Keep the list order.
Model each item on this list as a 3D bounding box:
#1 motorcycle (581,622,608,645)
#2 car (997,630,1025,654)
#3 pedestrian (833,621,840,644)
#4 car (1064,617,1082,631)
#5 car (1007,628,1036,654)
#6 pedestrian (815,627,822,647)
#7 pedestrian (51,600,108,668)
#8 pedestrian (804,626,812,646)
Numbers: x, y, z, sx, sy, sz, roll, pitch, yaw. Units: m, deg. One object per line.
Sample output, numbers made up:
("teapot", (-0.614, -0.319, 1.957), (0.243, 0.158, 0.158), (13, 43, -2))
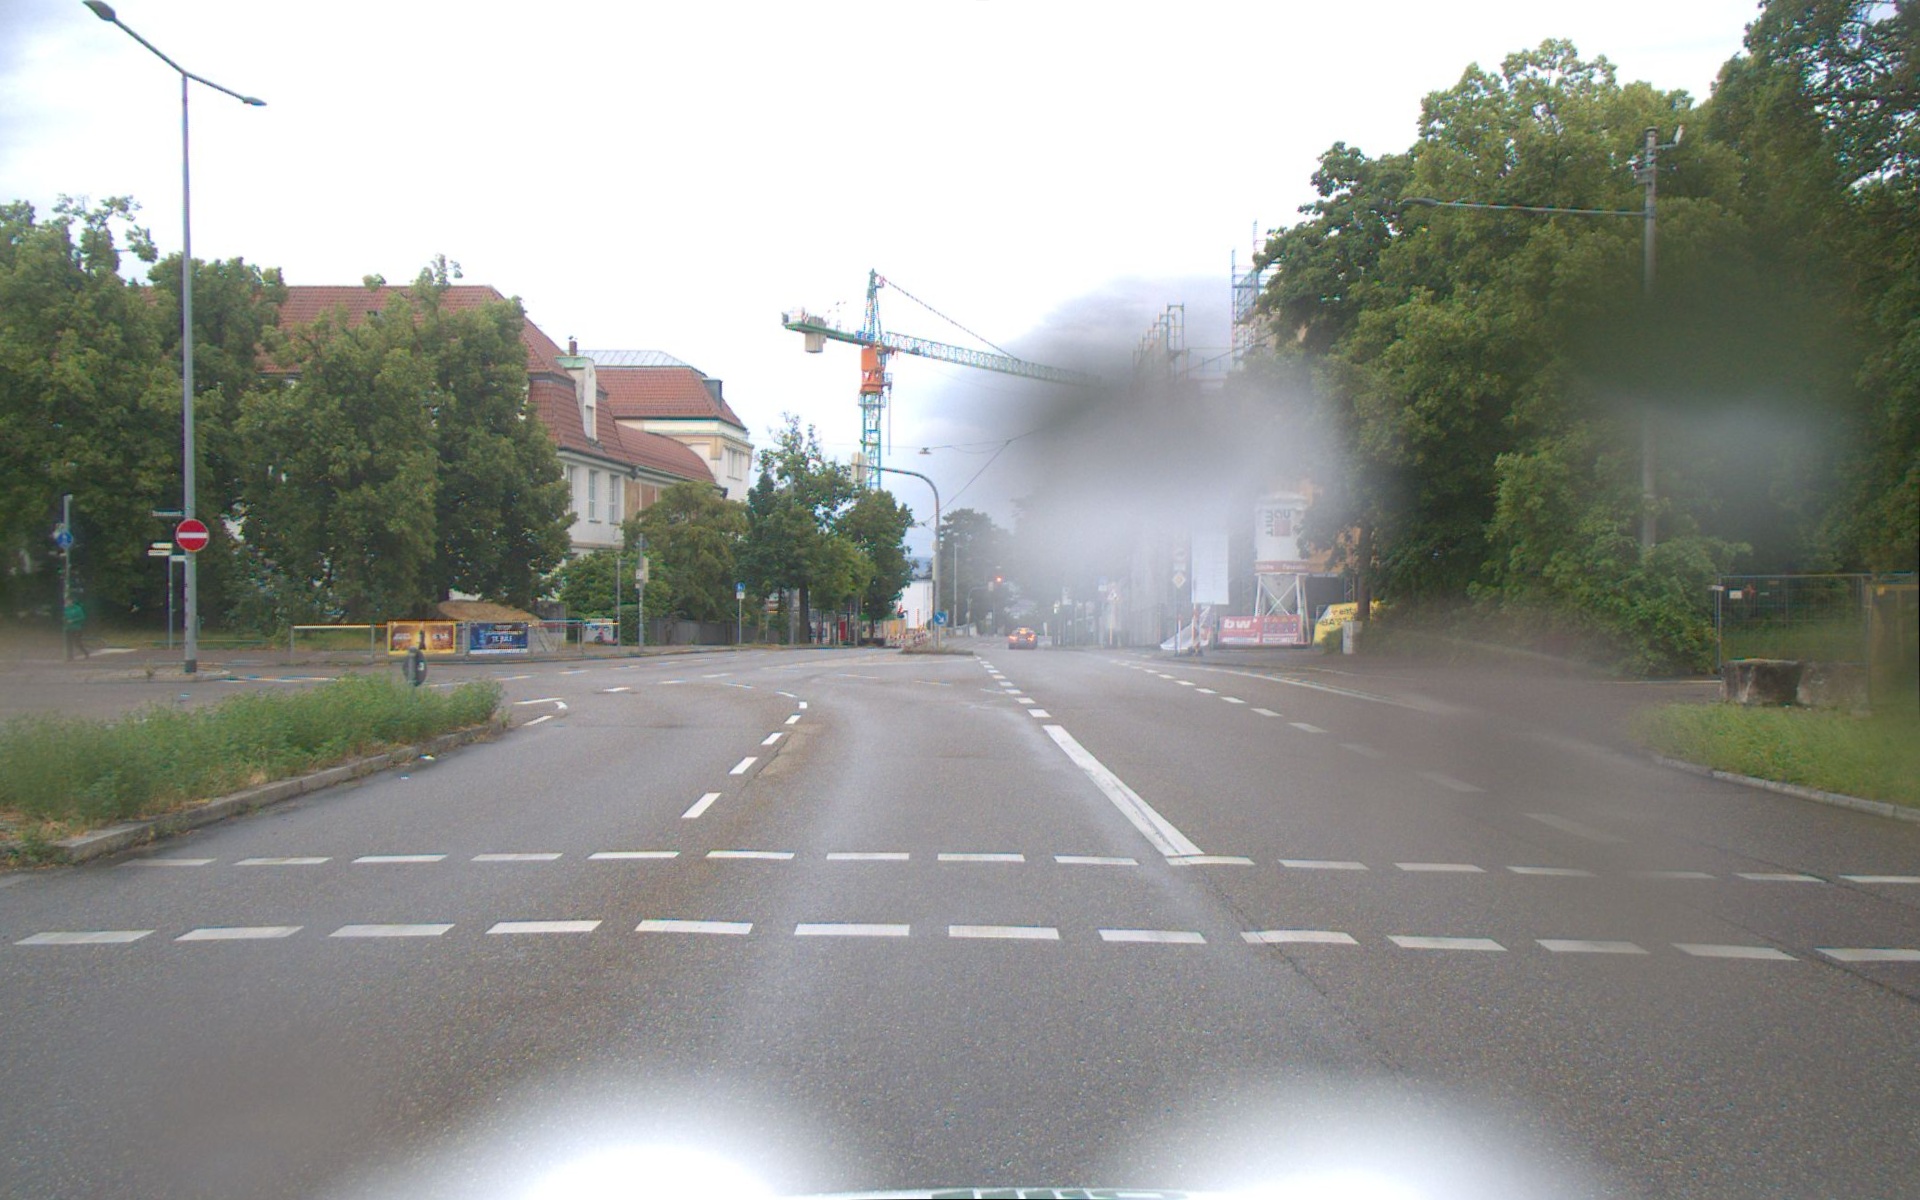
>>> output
("motorcycle", (-14.299, 1.309, 64.728), (0.832, 0.893, 0.877), (1, 0, -1))
("car", (4.042, 3.321, 131.514), (1.953, 1.780, 3.999), (-1, 0, -1))
("pedestrian", (-9.022, 2.347, 120.746), (0.484, 1.674, 0.533), (1, -1, -7))
("car", (15.013, 3.118, 219.499), (1.951, 1.780, 4.003), (-1, 0, 10))
("car", (4.616, 3.068, 124.687), (1.953, 1.780, 3.999), (-1, 0, -1))
("pedestrian", (-9.945, 2.602, 115.994), (0.465, 1.421, 0.411), (0, 0, -1))
("pedestrian", (-23.191, 0.886, 43.571), (0.903, 1.757, 0.947), (1, -1, 6))
("pedestrian", (-10.667, 2.540, 116.085), (0.465, 1.421, 0.411), (-1, 0, -1))
